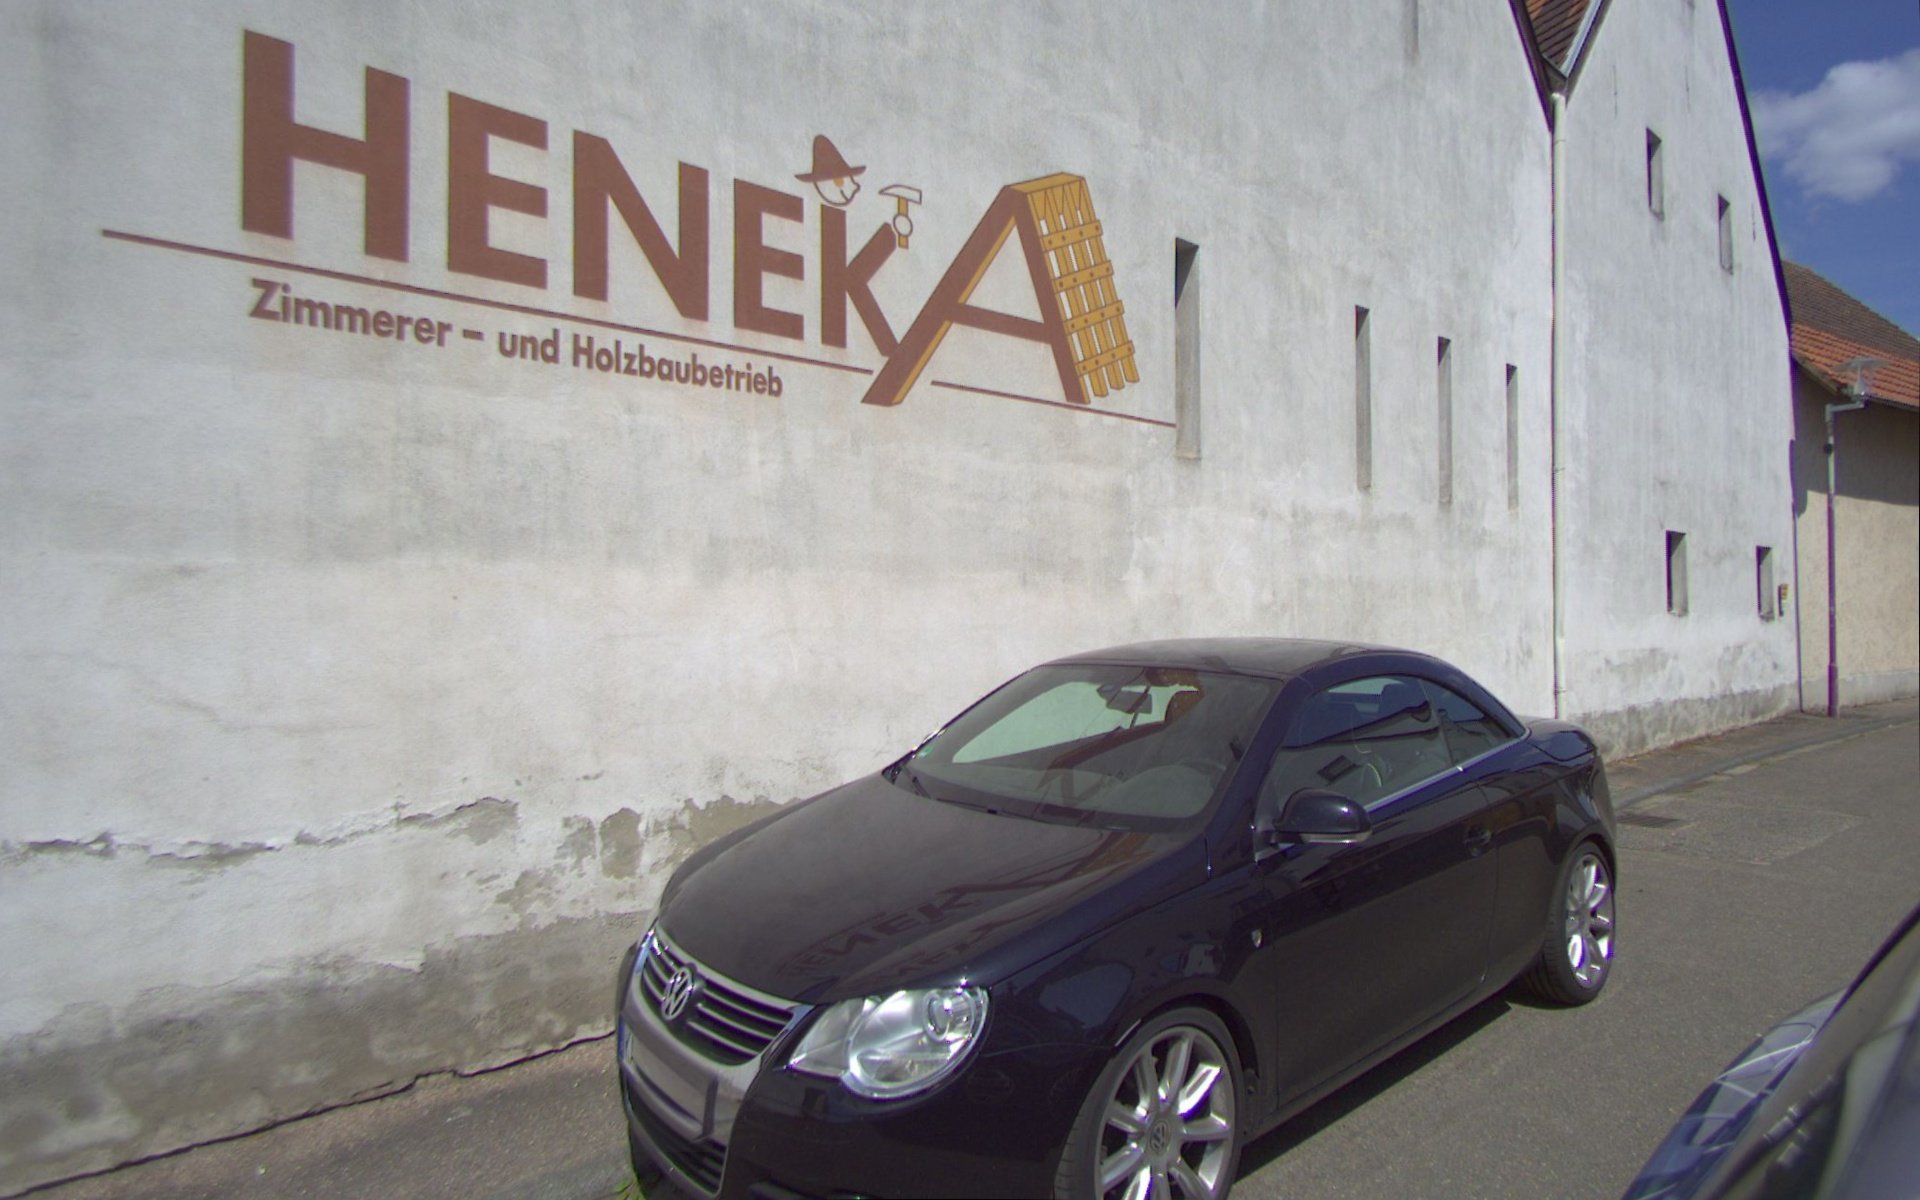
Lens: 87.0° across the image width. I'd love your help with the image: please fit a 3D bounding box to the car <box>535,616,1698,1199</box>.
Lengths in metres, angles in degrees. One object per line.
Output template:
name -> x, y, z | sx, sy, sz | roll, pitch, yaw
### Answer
car -> 0.928, 0.795, 3.820 | 4.334, 1.382, 1.899 | 0, -1, -39
